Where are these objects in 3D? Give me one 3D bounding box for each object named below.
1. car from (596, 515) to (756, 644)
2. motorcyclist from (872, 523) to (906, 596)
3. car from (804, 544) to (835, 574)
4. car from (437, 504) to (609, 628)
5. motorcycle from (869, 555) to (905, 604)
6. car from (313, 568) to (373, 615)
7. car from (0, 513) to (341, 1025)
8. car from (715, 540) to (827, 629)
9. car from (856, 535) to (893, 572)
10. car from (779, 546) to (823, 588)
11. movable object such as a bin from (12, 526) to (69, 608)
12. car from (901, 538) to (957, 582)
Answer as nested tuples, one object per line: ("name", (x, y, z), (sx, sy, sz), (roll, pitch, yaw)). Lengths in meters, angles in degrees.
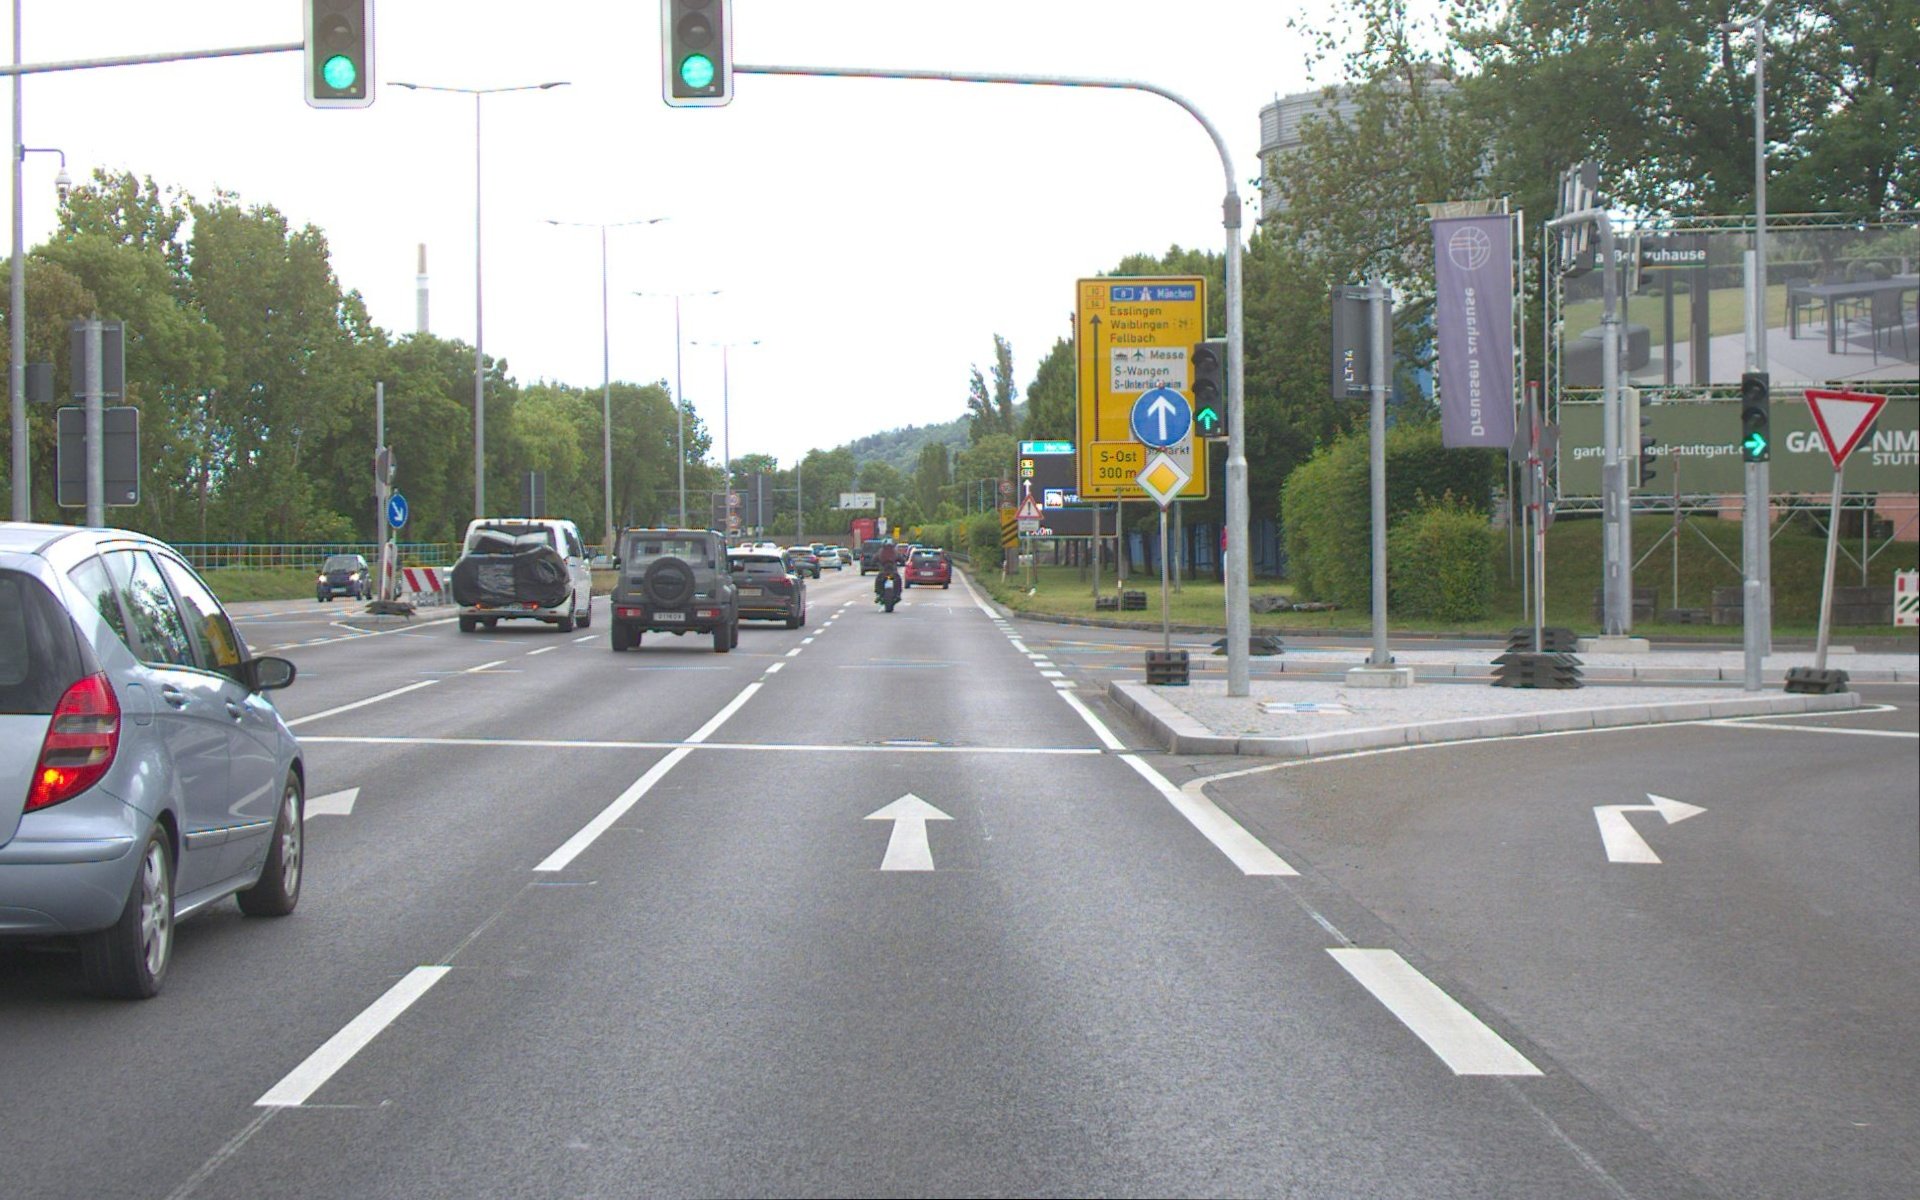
("car", (-3.948, -0.328, 48.396), (1.907, 1.678, 4.000), (2, 1, -1))
("motorcyclist", (-1.613, -0.920, 77.739), (0.685, 1.604, 0.845), (2, 1, 1))
("car", (-10.091, -2.949, 247.543), (1.993, 2.007, 4.000), (2, 1, 0))
("car", (-7.229, -0.603, 57.348), (2.214, 1.919, 5.003), (2, 1, 0))
("motorcycle", (-1.632, -0.474, 77.531), (0.706, 1.036, 2.027), (2, 1, 1))
("car", (-20.523, -0.300, 114.380), (1.472, 1.458, 2.737), (2, 1, -1))
("car", (-3.447, 0.463, 12.492), (1.710, 1.525, 4.000), (2, 1, -1))
("car", (-3.387, -0.307, 62.203), (1.840, 1.459, 4.000), (2, 1, -1))
("car", (-4.869, -2.637, 196.206), (1.993, 2.007, 4.000), (2, 1, 0))
("car", (-8.141, -1.695, 176.304), (1.993, 2.007, 4.000), (2, 1, 0))
("movable object such as a bin", (-12.247, -0.443, 45.788), (0.540, 1.055, 0.741), (2, 1, -1))
("car", (-1.190, -1.526, 129.763), (1.993, 1.546, 4.001), (2, 1, -2))
